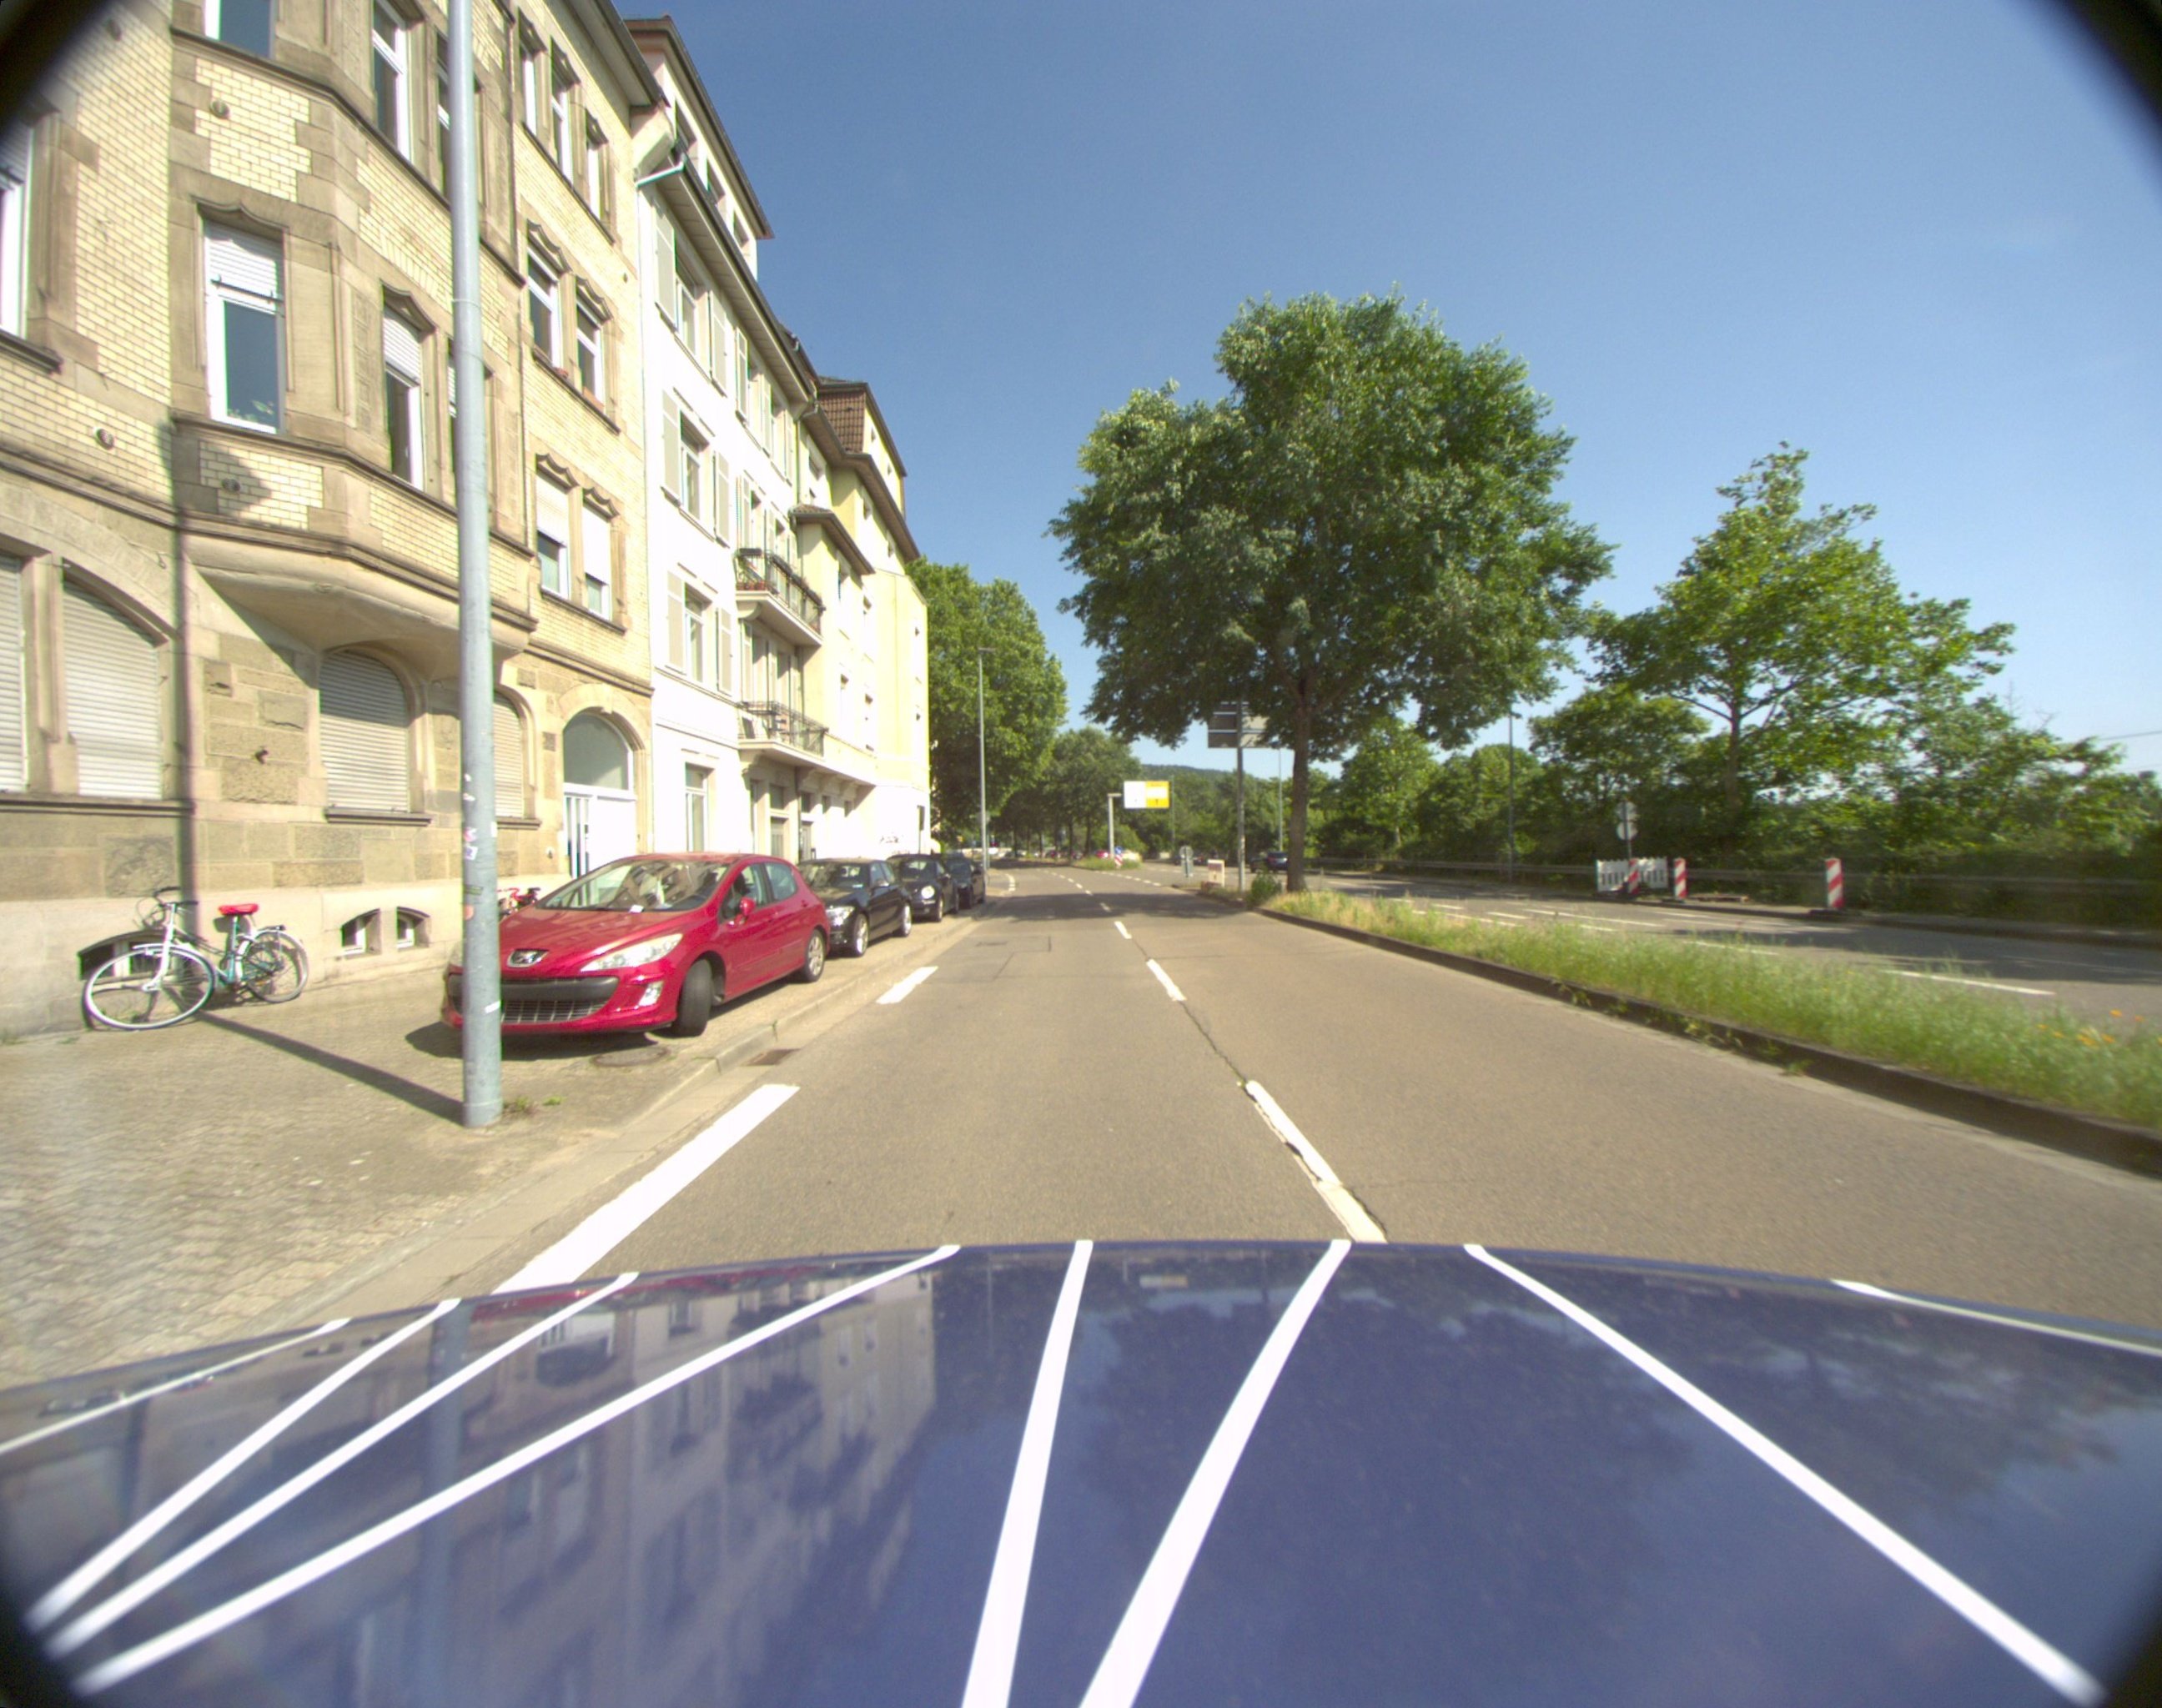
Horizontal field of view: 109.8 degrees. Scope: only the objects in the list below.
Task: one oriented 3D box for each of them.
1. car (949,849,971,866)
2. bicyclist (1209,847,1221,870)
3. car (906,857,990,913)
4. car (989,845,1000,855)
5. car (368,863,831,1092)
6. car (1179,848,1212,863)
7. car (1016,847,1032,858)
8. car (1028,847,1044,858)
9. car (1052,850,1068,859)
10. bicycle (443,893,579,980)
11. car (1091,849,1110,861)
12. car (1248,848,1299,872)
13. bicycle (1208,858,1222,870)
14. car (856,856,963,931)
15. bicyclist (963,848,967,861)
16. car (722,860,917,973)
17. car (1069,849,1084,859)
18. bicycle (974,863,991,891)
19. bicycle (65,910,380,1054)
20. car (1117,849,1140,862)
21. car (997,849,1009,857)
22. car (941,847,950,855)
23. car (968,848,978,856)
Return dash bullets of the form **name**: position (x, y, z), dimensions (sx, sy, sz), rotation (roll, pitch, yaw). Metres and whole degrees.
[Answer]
- **car**: position (-11.711, 0.323, 73.650), dimensions (1.794, 1.504, 3.888), rotation (-1, 1, -13)
- **bicyclist**: position (9.318, 0.308, 52.886), dimensions (0.575, 1.525, 0.778), rotation (-1, 1, -6)
- **car**: position (-3.753, 0.832, 22.103), dimensions (1.745, 1.408, 4.080), rotation (0, 1, 0)
- **car**: position (-18.205, -0.862, 159.783), dimensions (1.636, 1.904, 3.674), rotation (-1, 1, -18)
- **car**: position (-3.912, 0.860, 7.140), dimensions (1.789, 1.473, 3.999), rotation (0, 1, 0)
- **car**: position (11.094, 0.146, 73.969), dimensions (2.000, 1.403, 4.612), rotation (0, 0, -8)
- **car**: position (-10.503, -0.304, 140.516), dimensions (2.001, 1.880, 3.993), rotation (-1, 1, -18)
- **car**: position (-7.829, -0.225, 133.012), dimensions (2.001, 1.880, 3.994), rotation (-1, 1, -15)
- **car**: position (-3.770, 0.082, 135.484), dimensions (1.925, 1.654, 4.305), rotation (-1, 0, -16)
- **bicycle**: position (-7.516, 1.049, 10.114), dimensions (0.509, 0.964, 1.652), rotation (-1, 1, 2)
- **car**: position (2.577, 0.086, 99.513), dimensions (1.803, 1.511, 3.961), rotation (-1, 0, -9)
- **car**: position (12.800, 0.349, 50.833), dimensions (1.999, 1.519, 4.696), rotation (1, 0, -3)
- **bicycle**: position (9.327, 0.695, 52.906), dimensions (0.495, 0.828, 1.805), rotation (0, 0, -6)
- **car**: position (-3.843, 0.814, 17.634), dimensions (1.646, 1.492, 4.009), rotation (0, 1, -1)
- **bicyclist**: position (-14.619, 0.073, 95.788), dimensions (0.541, 1.624, 0.589), rotation (0, 1, -6)
- **car**: position (-3.929, 0.850, 12.200), dimensions (1.646, 1.444, 4.126), rotation (-1, 0, 1)
- **car**: position (-0.759, -0.003, 123.598), dimensions (1.682, 1.461, 3.573), rotation (-1, 0, -12)
- **bicycle**: position (-4.142, 0.954, 32.082), dimensions (0.578, 1.081, 1.733), rotation (-1, 1, -4)
- **bicycle**: position (-7.477, 1.056, 6.789), dimensions (0.652, 0.964, 1.864), rotation (0, 1, 2)
- **car**: position (5.530, 0.159, 88.826), dimensions (1.870, 1.444, 4.201), rotation (0, 0, -8)
- **car**: position (-15.693, -0.228, 153.241), dimensions (1.636, 1.487, 3.674), rotation (-1, 1, -18)
- **car**: position (-34.459, -0.746, 193.299), dimensions (1.636, 1.801, 3.586), rotation (-1, 1, -18)
- **car**: position (-23.920, -0.519, 167.775), dimensions (1.636, 1.801, 3.586), rotation (-1, 1, -18)
